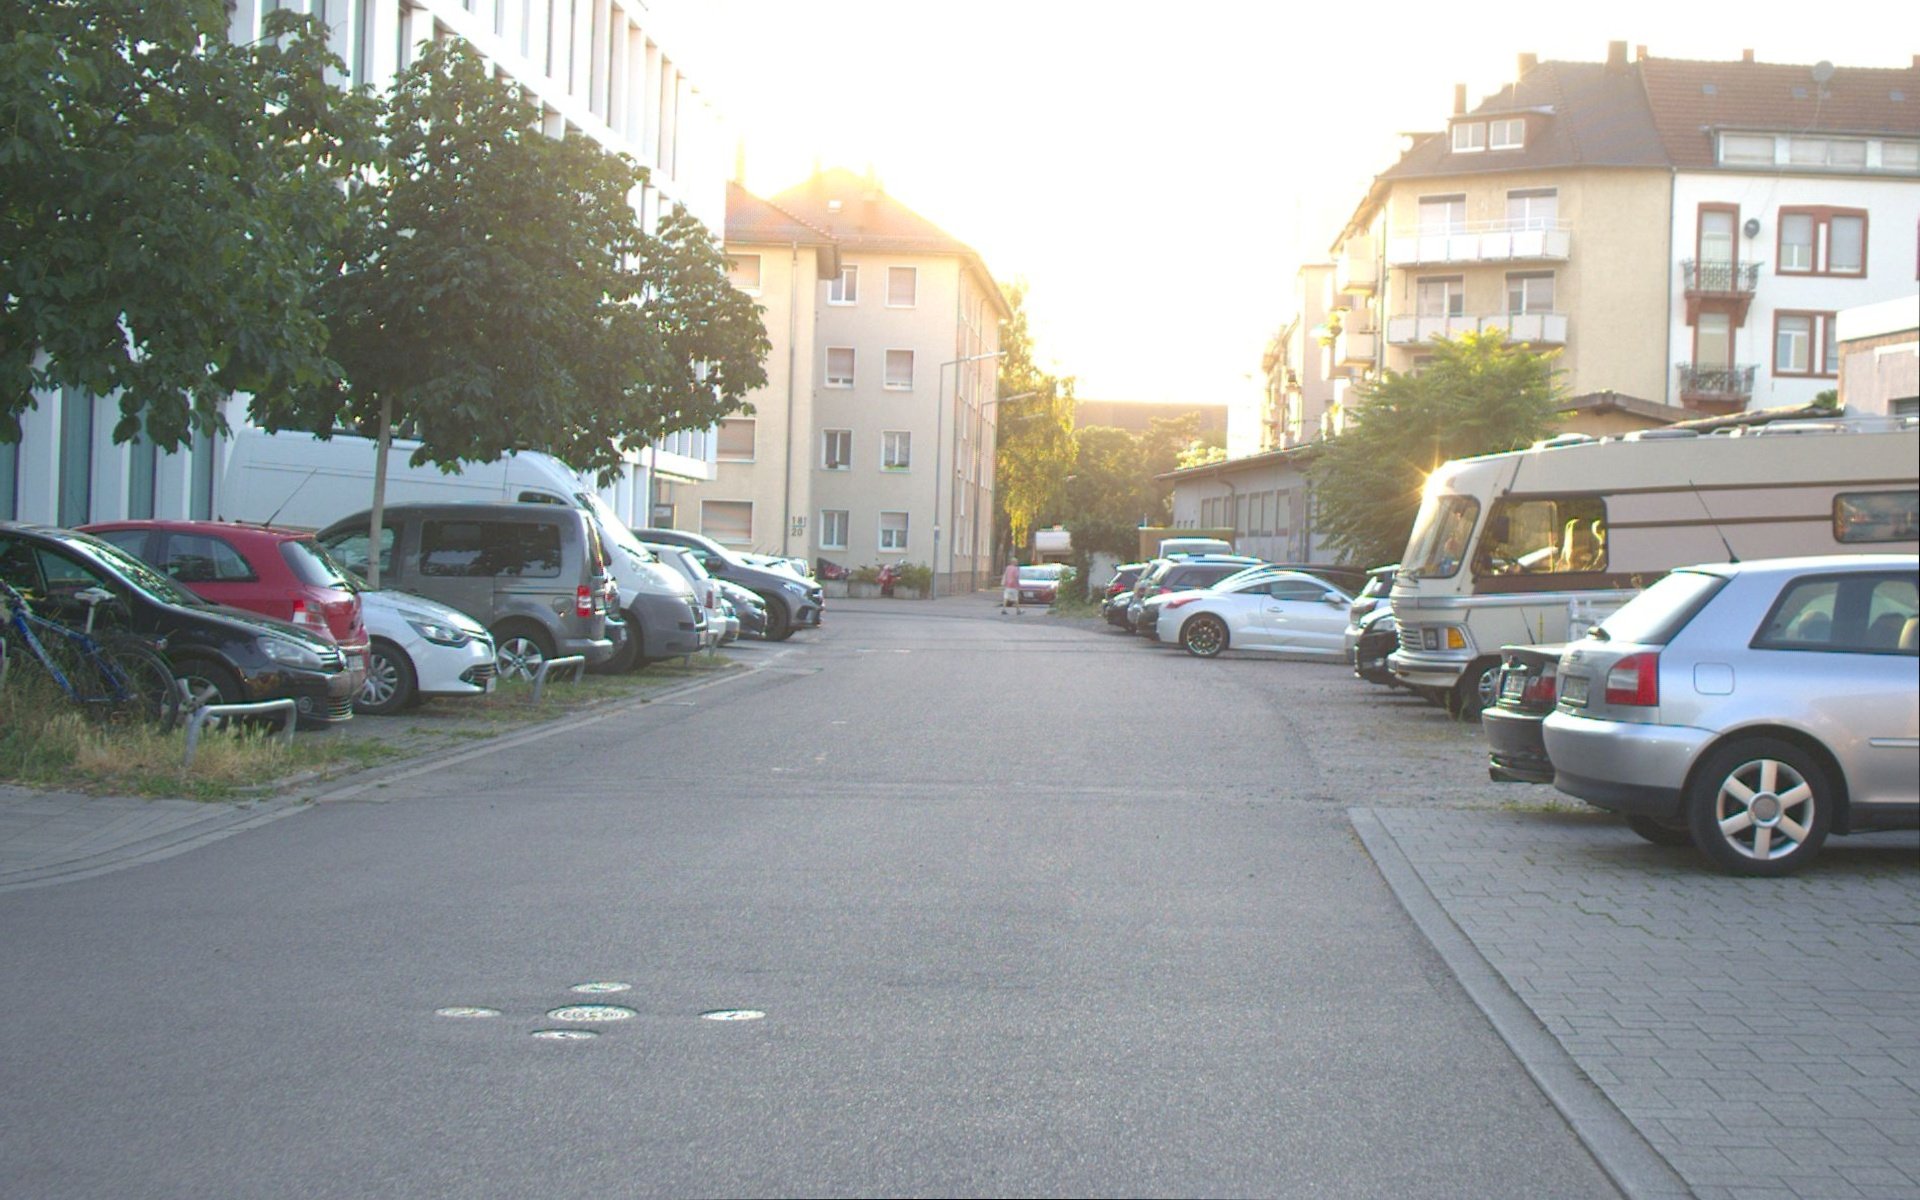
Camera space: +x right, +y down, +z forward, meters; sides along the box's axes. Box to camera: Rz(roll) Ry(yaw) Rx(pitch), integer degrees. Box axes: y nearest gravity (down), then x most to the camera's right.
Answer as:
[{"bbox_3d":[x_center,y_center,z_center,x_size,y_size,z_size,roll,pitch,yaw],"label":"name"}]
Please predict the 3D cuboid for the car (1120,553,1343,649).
[{"bbox_3d":[5.139,0.004,65.354,3.983,1.604,1.939,3,1,-1],"label":"car"}]

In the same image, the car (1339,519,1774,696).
[{"bbox_3d":[6.112,0.067,35.635,4.241,1.735,1.967,1,0,4],"label":"car"}]

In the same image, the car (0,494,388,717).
[{"bbox_3d":[-6.628,-0.013,26.286,4.108,1.513,1.845,3,1,1],"label":"car"}]

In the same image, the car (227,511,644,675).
[{"bbox_3d":[-5.466,-0.087,36.214,4.108,1.494,1.775,3,1,-2],"label":"car"}]

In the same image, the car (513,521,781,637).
[{"bbox_3d":[-4.635,-0.328,51.302,3.781,1.517,1.693,3,1,0],"label":"car"}]

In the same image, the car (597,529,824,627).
[{"bbox_3d":[-4.346,-0.391,60.108,3.667,1.506,1.696,3,1,5],"label":"car"}]

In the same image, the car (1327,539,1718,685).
[{"bbox_3d":[6.246,0.127,38.416,4.003,1.558,1.712,1,1,-4],"label":"car"}]

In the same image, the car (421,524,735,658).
[{"bbox_3d":[-4.821,-0.133,43.702,3.708,1.490,1.707,3,1,2],"label":"car"}]

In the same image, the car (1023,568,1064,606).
[{"bbox_3d":[3.319,-0.517,136.885,1.616,1.468,3.505,0,0,2],"label":"car"}]

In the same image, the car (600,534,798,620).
[{"bbox_3d":[-5.105,-0.462,67.595,3.655,1.506,1.687,3,1,2],"label":"car"}]

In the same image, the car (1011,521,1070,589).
[{"bbox_3d":[3.980,-2.207,169.212,2.620,3.258,7.696,0,0,4],"label":"car"}]

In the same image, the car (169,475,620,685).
[{"bbox_3d":[-5.493,-0.205,33.781,4.108,1.810,1.816,3,1,-2],"label":"car"}]

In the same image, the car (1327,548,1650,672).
[{"bbox_3d":[6.540,0.108,42.777,3.704,1.474,1.712,1,1,-1],"label":"car"}]

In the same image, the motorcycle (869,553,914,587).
[{"bbox_3d":[-2.433,-1.046,122.022,0.689,1.156,2.031,2,1,27],"label":"motorcycle"}]

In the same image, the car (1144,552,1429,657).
[{"bbox_3d":[4.944,0.052,52.415,4.203,1.362,1.823,3,1,4],"label":"car"}]

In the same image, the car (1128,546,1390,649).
[{"bbox_3d":[4.976,-0.035,57.583,4.203,1.498,1.890,3,0,2],"label":"car"}]

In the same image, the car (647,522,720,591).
[{"bbox_3d":[-8.255,-1.326,102.835,1.797,1.973,4.690,2,1,-1],"label":"car"}]

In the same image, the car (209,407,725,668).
[{"bbox_3d":[-5.519,-0.713,38.963,5.381,2.624,2.078,3,1,3],"label":"car"}]

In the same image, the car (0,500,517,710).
[{"bbox_3d":[-5.932,0.019,28.874,4.108,1.513,1.780,3,1,1],"label":"car"}]

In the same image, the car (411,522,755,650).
[{"bbox_3d":[-5.050,-0.203,46.392,4.308,1.490,1.794,3,1,3],"label":"car"}]

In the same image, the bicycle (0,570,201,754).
[{"bbox_3d":[-5.653,0.368,21.372,1.696,1.062,0.566,3,1,2],"label":"bicycle"}]

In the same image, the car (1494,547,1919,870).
[{"bbox_3d":[4.699,0.468,16.079,4.055,1.402,1.896,0,1,-2],"label":"car"}]

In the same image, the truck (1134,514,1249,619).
[{"bbox_3d":[5.118,-0.737,76.736,2.098,2.193,5.711,2,0,0],"label":"truck"}]

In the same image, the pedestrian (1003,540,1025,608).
[{"bbox_3d":[1.612,-0.774,102.500,0.573,2.007,0.556,2,1,3],"label":"pedestrian"}]

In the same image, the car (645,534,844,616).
[{"bbox_3d":[-4.490,-0.536,71.975,3.927,1.506,1.687,3,1,3],"label":"car"}]

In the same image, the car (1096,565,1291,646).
[{"bbox_3d":[4.740,0.109,70.193,3.759,1.439,1.845,3,0,-1],"label":"car"}]

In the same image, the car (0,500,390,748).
[{"bbox_3d":[-6.134,0.099,23.467,4.108,1.513,1.845,3,1,0],"label":"car"}]

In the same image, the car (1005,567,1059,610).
[{"bbox_3d":[2.607,-0.436,123.861,1.845,1.468,4.078,2,0,2],"label":"car"}]

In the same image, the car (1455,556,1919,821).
[{"bbox_3d":[4.983,0.458,18.500,4.315,1.329,1.896,1,0,-2],"label":"car"}]

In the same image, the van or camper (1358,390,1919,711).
[{"bbox_3d":[6.811,-0.445,32.304,5.780,2.854,2.487,1,0,-1],"label":"van or camper"}]

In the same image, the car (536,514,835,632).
[{"bbox_3d":[-4.550,-0.461,57.360,4.619,1.700,2.004,3,1,5],"label":"car"}]

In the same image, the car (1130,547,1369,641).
[{"bbox_3d":[5.029,-0.100,60.072,3.984,1.440,1.827,3,0,1],"label":"car"}]

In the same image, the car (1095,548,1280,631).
[{"bbox_3d":[4.780,-0.233,72.623,3.759,1.530,1.891,3,1,1],"label":"car"}]

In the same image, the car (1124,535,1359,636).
[{"bbox_3d":[5.107,-0.270,62.658,3.983,1.613,1.827,3,1,-3],"label":"car"}]
